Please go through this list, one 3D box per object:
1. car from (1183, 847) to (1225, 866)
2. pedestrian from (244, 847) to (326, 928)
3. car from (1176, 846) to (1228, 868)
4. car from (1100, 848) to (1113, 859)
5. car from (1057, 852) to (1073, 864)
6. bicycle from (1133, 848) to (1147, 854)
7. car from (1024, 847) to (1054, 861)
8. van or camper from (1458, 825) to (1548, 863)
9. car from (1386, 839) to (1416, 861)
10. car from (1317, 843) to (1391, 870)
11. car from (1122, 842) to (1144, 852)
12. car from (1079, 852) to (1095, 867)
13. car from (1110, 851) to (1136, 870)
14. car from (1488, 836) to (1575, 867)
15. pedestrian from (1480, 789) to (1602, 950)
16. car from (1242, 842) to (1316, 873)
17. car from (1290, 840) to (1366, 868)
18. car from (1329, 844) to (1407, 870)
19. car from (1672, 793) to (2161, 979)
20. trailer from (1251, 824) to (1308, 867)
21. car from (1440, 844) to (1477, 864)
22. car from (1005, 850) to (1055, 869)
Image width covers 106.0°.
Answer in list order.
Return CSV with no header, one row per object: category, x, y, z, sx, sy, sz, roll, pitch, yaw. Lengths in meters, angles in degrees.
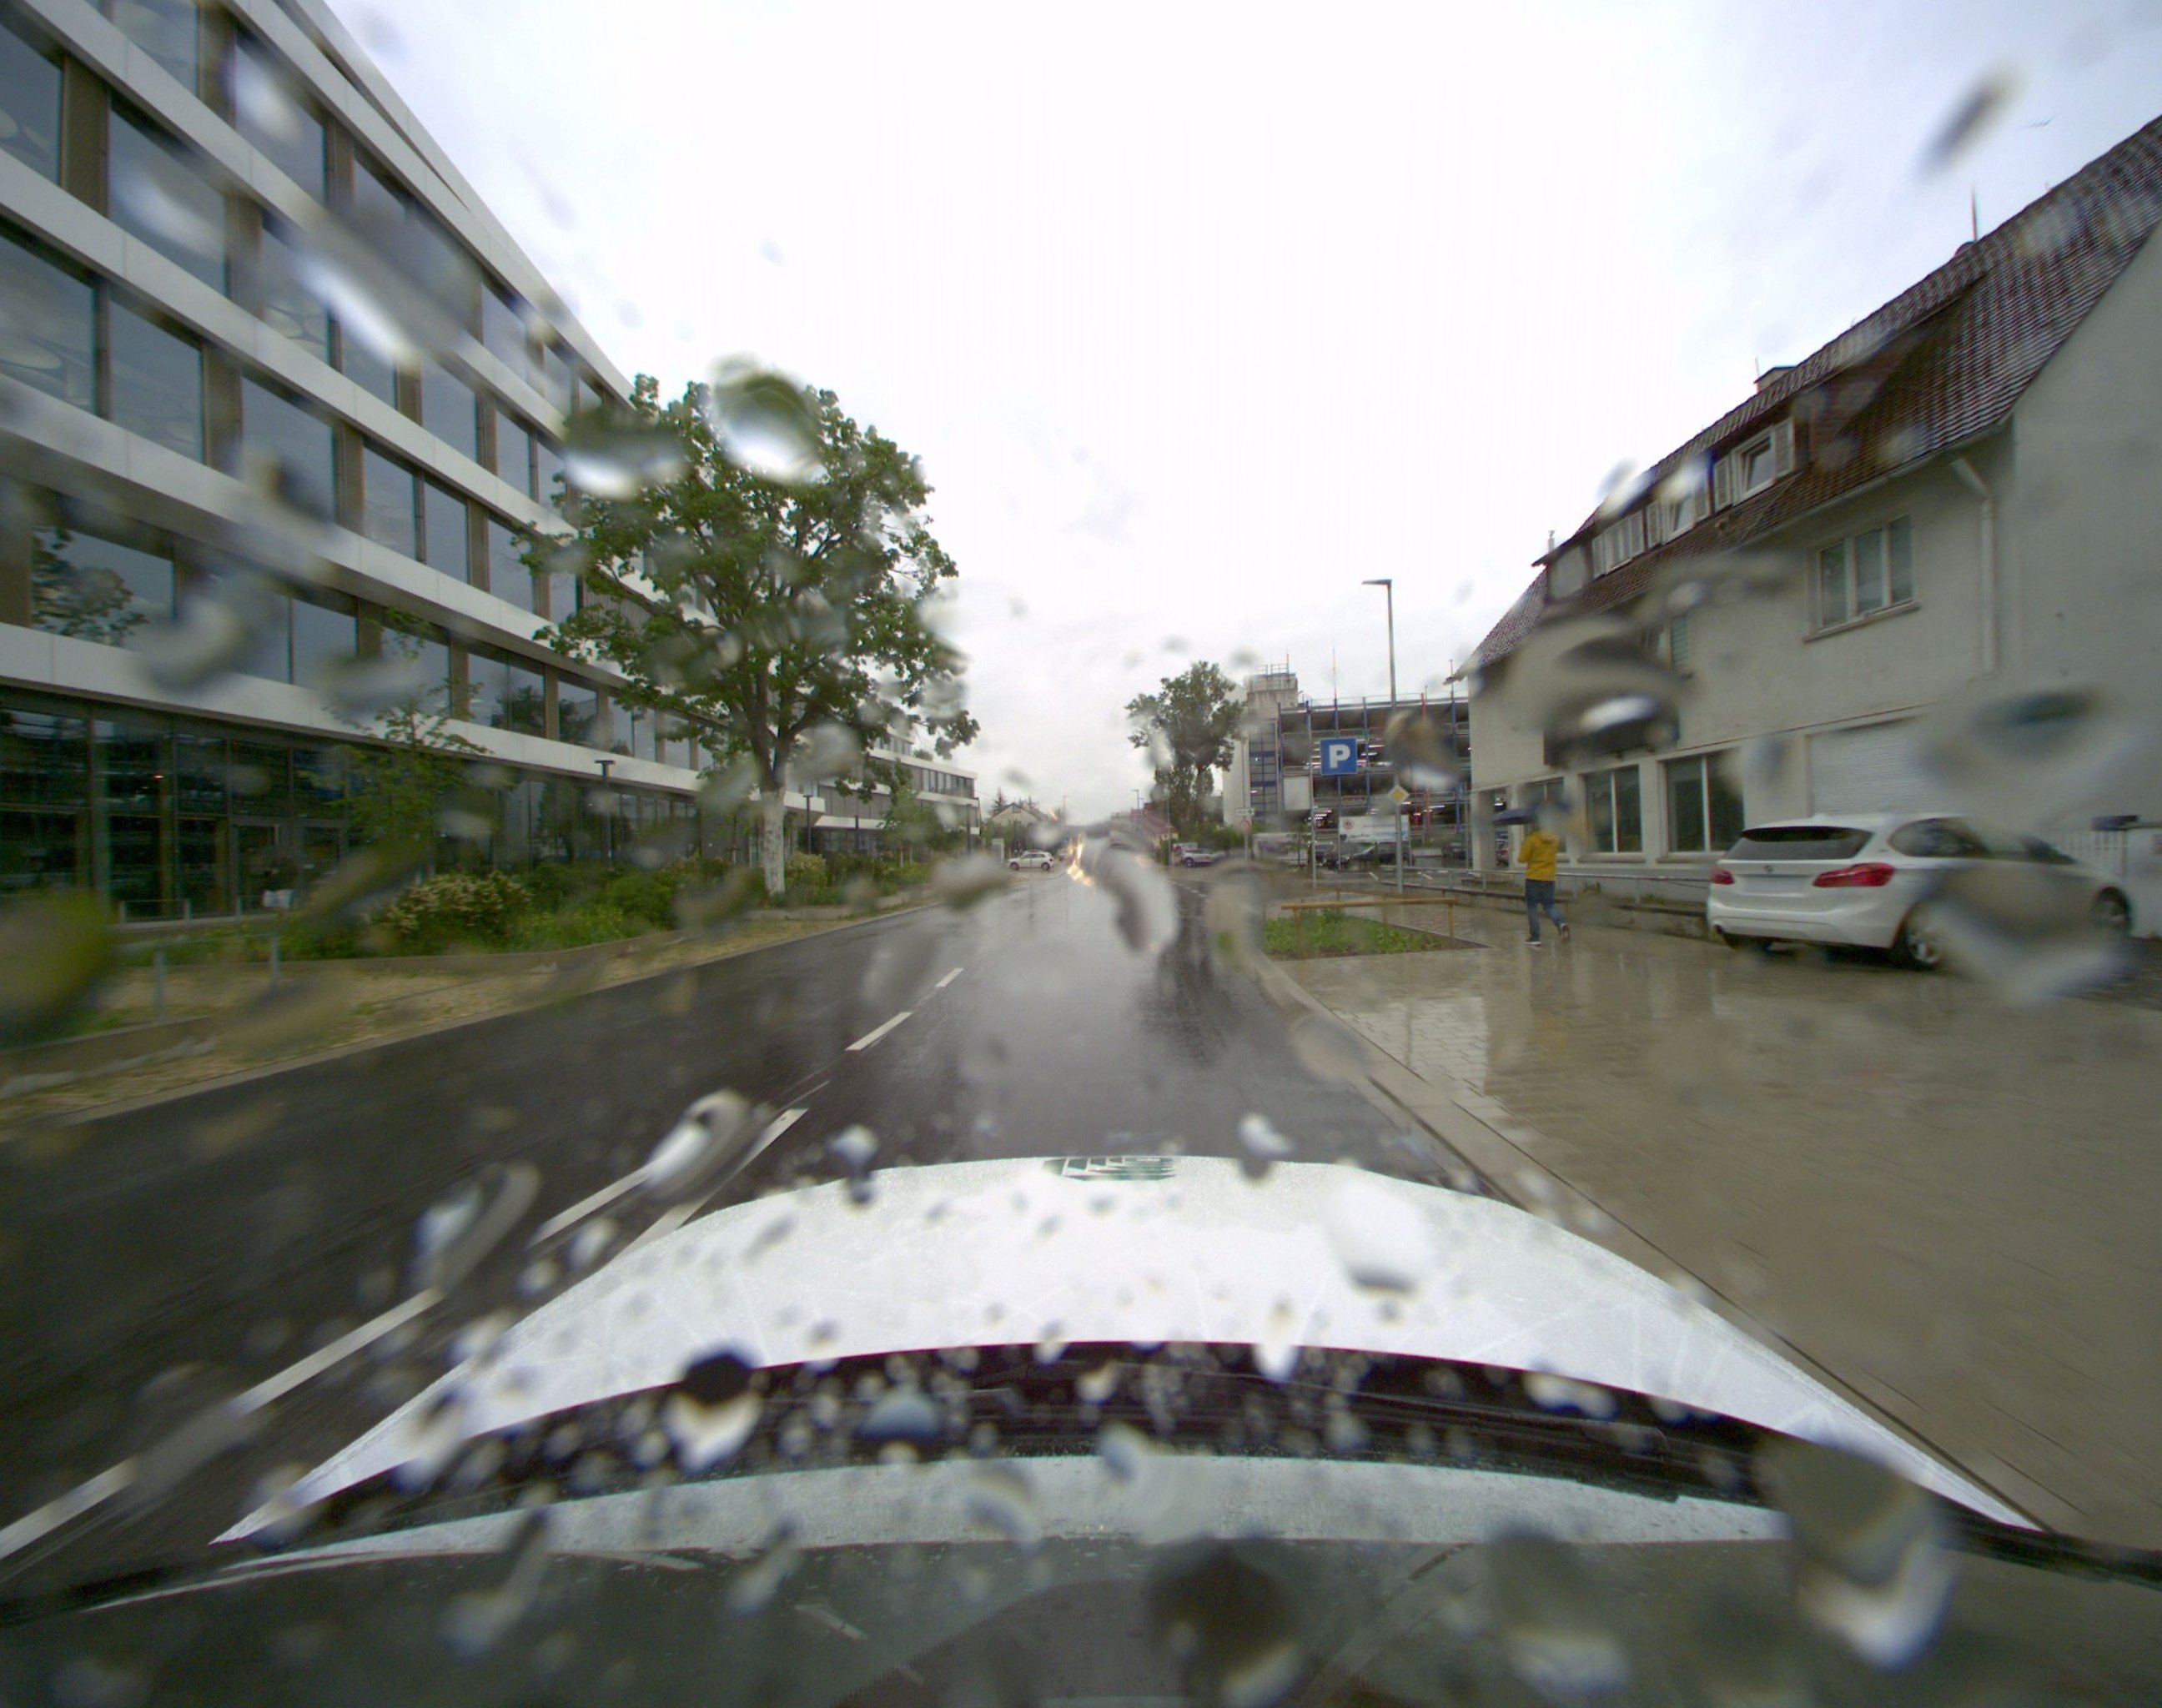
car,10.918,0.198,72.251,3.599,1.494,1.811,-2,0,10
pedestrian,-17.504,0.736,17.939,0.721,1.704,0.957,2,-2,4
car,10.373,0.243,69.562,4.181,1.649,2.006,-3,0,10
car,4.365,-0.086,141.048,2.146,1.706,4.000,2,-1,1
car,-2.158,0.531,111.758,1.987,1.629,4.154,-2,1,1
bicycle,11.260,-0.620,154.734,0.673,1.067,3.594,3,-2,-30
car,-6.923,0.029,134.089,4.745,2.014,1.996,2,-2,-5
van or camper,28.835,-0.693,55.791,4.926,2.326,2.228,-3,0,8
car,26.587,-0.337,67.839,1.718,1.679,4.015,-2,0,13
car,15.886,0.136,47.516,3.717,1.449,1.729,-2,0,-3
car,10.265,-1.449,161.284,4.102,1.706,1.787,2,-1,-3
car,0.746,0.689,102.069,1.996,1.818,4.979,-1,0,0
car,3.633,0.566,71.094,1.943,1.556,3.997,2,-1,-2
car,26.961,-0.157,48.840,4.102,1.667,1.870,-3,0,9
pedestrian,6.193,0.194,11.048,0.856,2.013,1.194,-4,0,-1
car,11.083,0.223,45.681,3.713,1.529,1.650,-3,-1,0
car,15.914,-0.005,52.608,4.343,1.651,1.844,-2,0,-2
car,15.848,0.185,45.133,3.717,1.315,1.691,-2,0,-3
car,9.158,0.259,9.032,4.134,1.580,1.991,-3,0,-14
trailer,10.477,-0.463,43.114,2.691,2.171,1.549,-1,0,2
car,31.123,0.049,67.214,1.879,1.486,4.012,2,-1,12
car,-4.170,0.442,66.733,3.913,1.423,1.899,-1,0,1
